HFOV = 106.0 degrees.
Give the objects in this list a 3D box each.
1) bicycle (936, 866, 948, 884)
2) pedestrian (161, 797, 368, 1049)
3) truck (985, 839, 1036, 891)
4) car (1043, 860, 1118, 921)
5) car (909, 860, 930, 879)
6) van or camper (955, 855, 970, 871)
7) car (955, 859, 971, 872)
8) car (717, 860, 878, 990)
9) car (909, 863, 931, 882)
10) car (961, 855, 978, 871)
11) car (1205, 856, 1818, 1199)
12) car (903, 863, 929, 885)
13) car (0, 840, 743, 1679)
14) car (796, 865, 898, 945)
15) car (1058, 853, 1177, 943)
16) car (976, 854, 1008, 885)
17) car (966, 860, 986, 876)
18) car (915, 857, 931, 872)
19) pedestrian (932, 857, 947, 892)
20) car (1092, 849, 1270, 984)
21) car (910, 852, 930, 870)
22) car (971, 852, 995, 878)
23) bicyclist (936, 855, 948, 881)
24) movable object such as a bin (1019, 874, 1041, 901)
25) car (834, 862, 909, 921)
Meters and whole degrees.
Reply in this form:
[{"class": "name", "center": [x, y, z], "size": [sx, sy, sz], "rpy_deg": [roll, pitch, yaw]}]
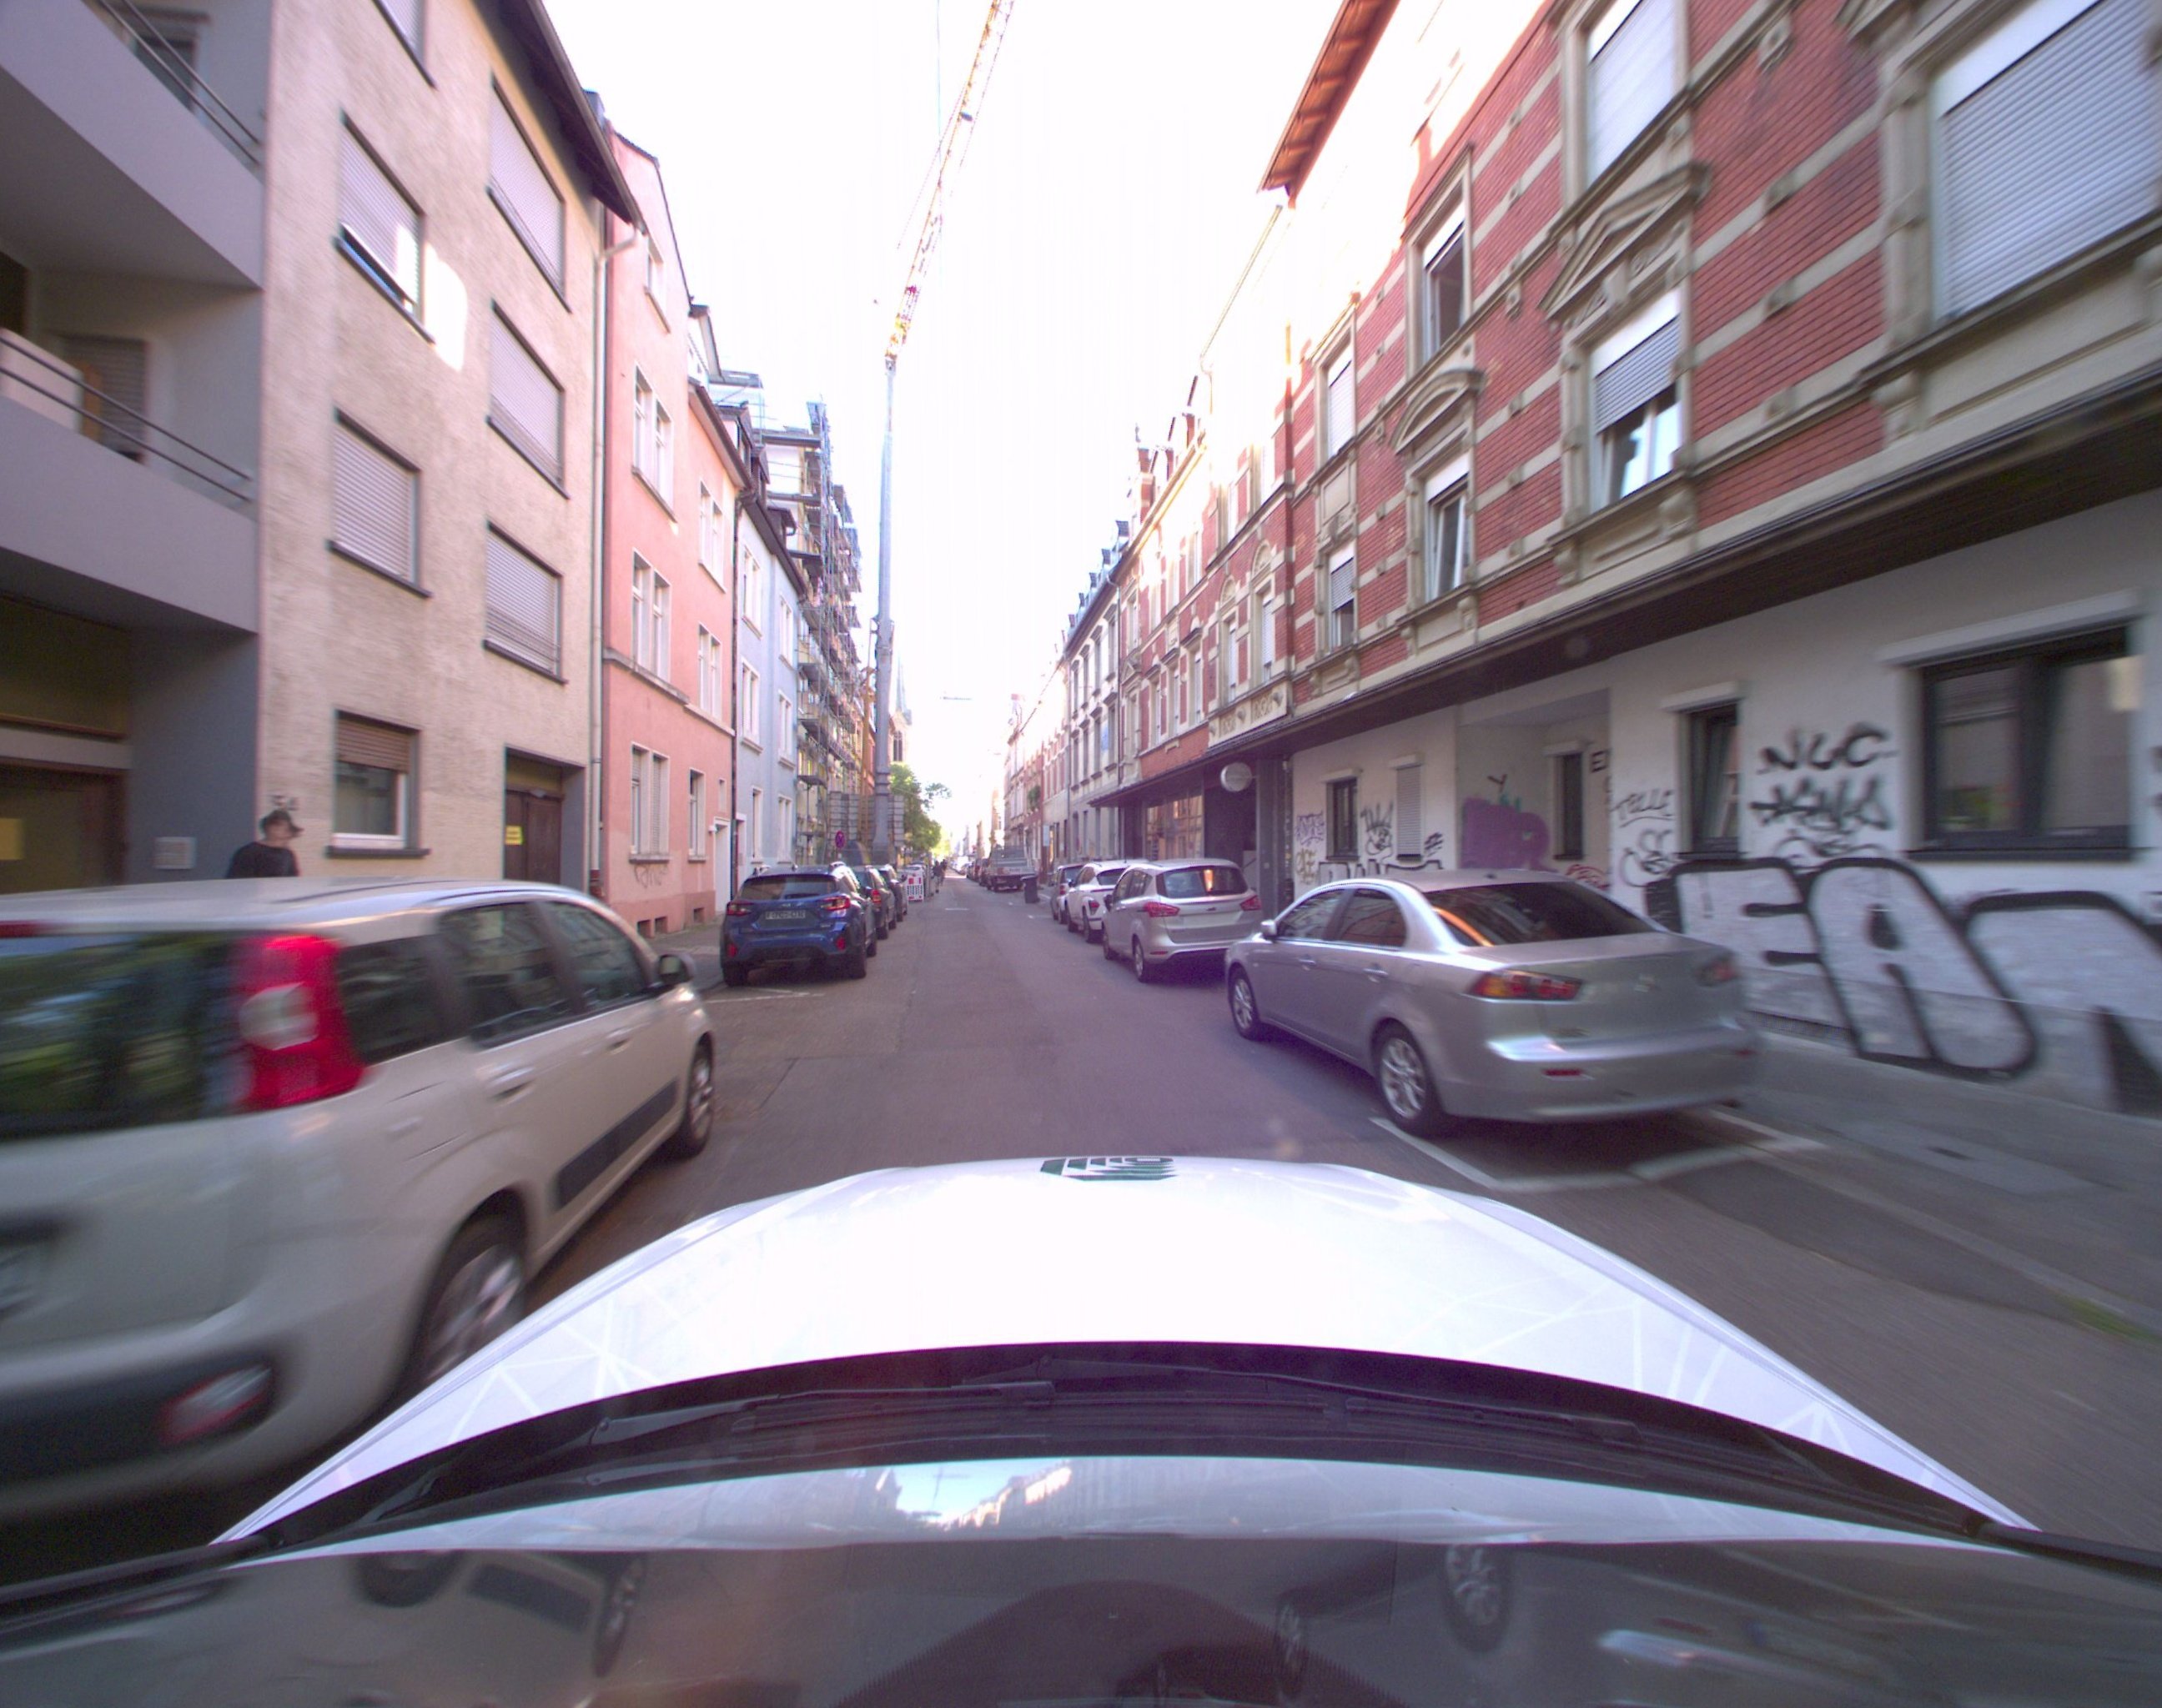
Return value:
[{"class": "bicycle", "center": [-9.406, 1.416, 55.208], "size": [0.724, 1.186, 2.036], "rpy_deg": [1, 0, -9]}, {"class": "pedestrian", "center": [-6.308, 0.499, 6.345], "size": [0.907, 1.839, 0.671], "rpy_deg": [-1, -1, -10]}, {"class": "truck", "center": [-3.916, 0.598, 44.493], "size": [2.191, 2.607, 5.214], "rpy_deg": [-1, 0, -11]}, {"class": "car", "center": [-0.104, 0.954, 22.870], "size": [1.596, 1.560, 3.803], "rpy_deg": [-1, -1, -8]}, {"class": "car", "center": [-13.665, 1.324, 68.891], "size": [1.676, 1.571, 3.853], "rpy_deg": [-1, -1, -12]}, {"class": "van or camper", "center": [-19.327, 1.399, 132.376], "size": [1.996, 2.508, 4.182], "rpy_deg": [-1, 0, -14]}, {"class": "car", "center": [-17.071, 1.643, 117.683], "size": [1.994, 1.849, 3.985], "rpy_deg": [-1, 0, -11]}, {"class": "car", "center": [-4.057, 0.901, 12.322], "size": [1.730, 1.540, 4.359], "rpy_deg": [-2, -1, -12]}, {"class": "car", "center": [-12.703, 1.428, 64.111], "size": [1.676, 1.445, 3.853], "rpy_deg": [-1, -1, -12]}, {"class": "car", "center": [-14.311, 1.192, 104.302], "size": [1.994, 2.014, 3.985], "rpy_deg": [0, 0, -11]}, {"class": "car", "center": [2.446, 0.803, 6.055], "size": [1.721, 1.562, 4.383], "rpy_deg": [0, 0, -10]}, {"class": "car", "center": [-11.256, 1.349, 55.444], "size": [1.676, 1.445, 3.853], "rpy_deg": [-1, -1, -12]}, {"class": "car", "center": [-2.678, 0.786, 3.337], "size": [1.676, 1.540, 3.853], "rpy_deg": [-1, -1, -12]}, {"class": "car", "center": [-4.992, 1.000, 17.867], "size": [1.675, 1.512, 4.399], "rpy_deg": [-1, -1, -10]}, {"class": "car", "center": [0.641, 0.856, 17.649], "size": [1.746, 1.675, 4.327], "rpy_deg": [-1, -1, -9]}, {"class": "car", "center": [-6.017, 1.032, 54.742], "size": [1.676, 1.963, 4.092], "rpy_deg": [0, -1, -12]}, {"class": "car", "center": [-10.382, 1.394, 80.260], "size": [1.676, 1.571, 3.853], "rpy_deg": [-1, -1, -12]}, {"class": "car", "center": [-20.662, 1.336, 106.836], "size": [1.994, 1.849, 3.985], "rpy_deg": [-1, 0, -11]}, {"class": "pedestrian", "center": [-7.152, 1.025, 41.138], "size": [0.658, 1.732, 0.717], "rpy_deg": [-2, 0, -10]}, {"class": "car", "center": [1.299, 0.798, 12.110], "size": [1.639, 1.656, 3.857], "rpy_deg": [0, -1, -9]}, {"class": "car", "center": [-14.677, 0.621, 74.071], "size": [1.676, 1.571, 3.853], "rpy_deg": [-1, -1, -12]}, {"class": "car", "center": [-8.099, 0.926, 67.023], "size": [1.676, 2.031, 3.853], "rpy_deg": [0, -1, -12]}, {"class": "bicyclist", "center": [-9.424, 0.958, 55.255], "size": [0.730, 1.761, 0.832], "rpy_deg": [1, 0, -10]}, {"class": "movable object such as a bin", "center": [-2.044, 1.319, 32.403], "size": [0.795, 1.056, 0.658], "rpy_deg": [0, -1, -10]}, {"class": "car", "center": [-5.804, 0.983, 23.018], "size": [1.675, 1.477, 4.591], "rpy_deg": [-1, -1, -10]}]
